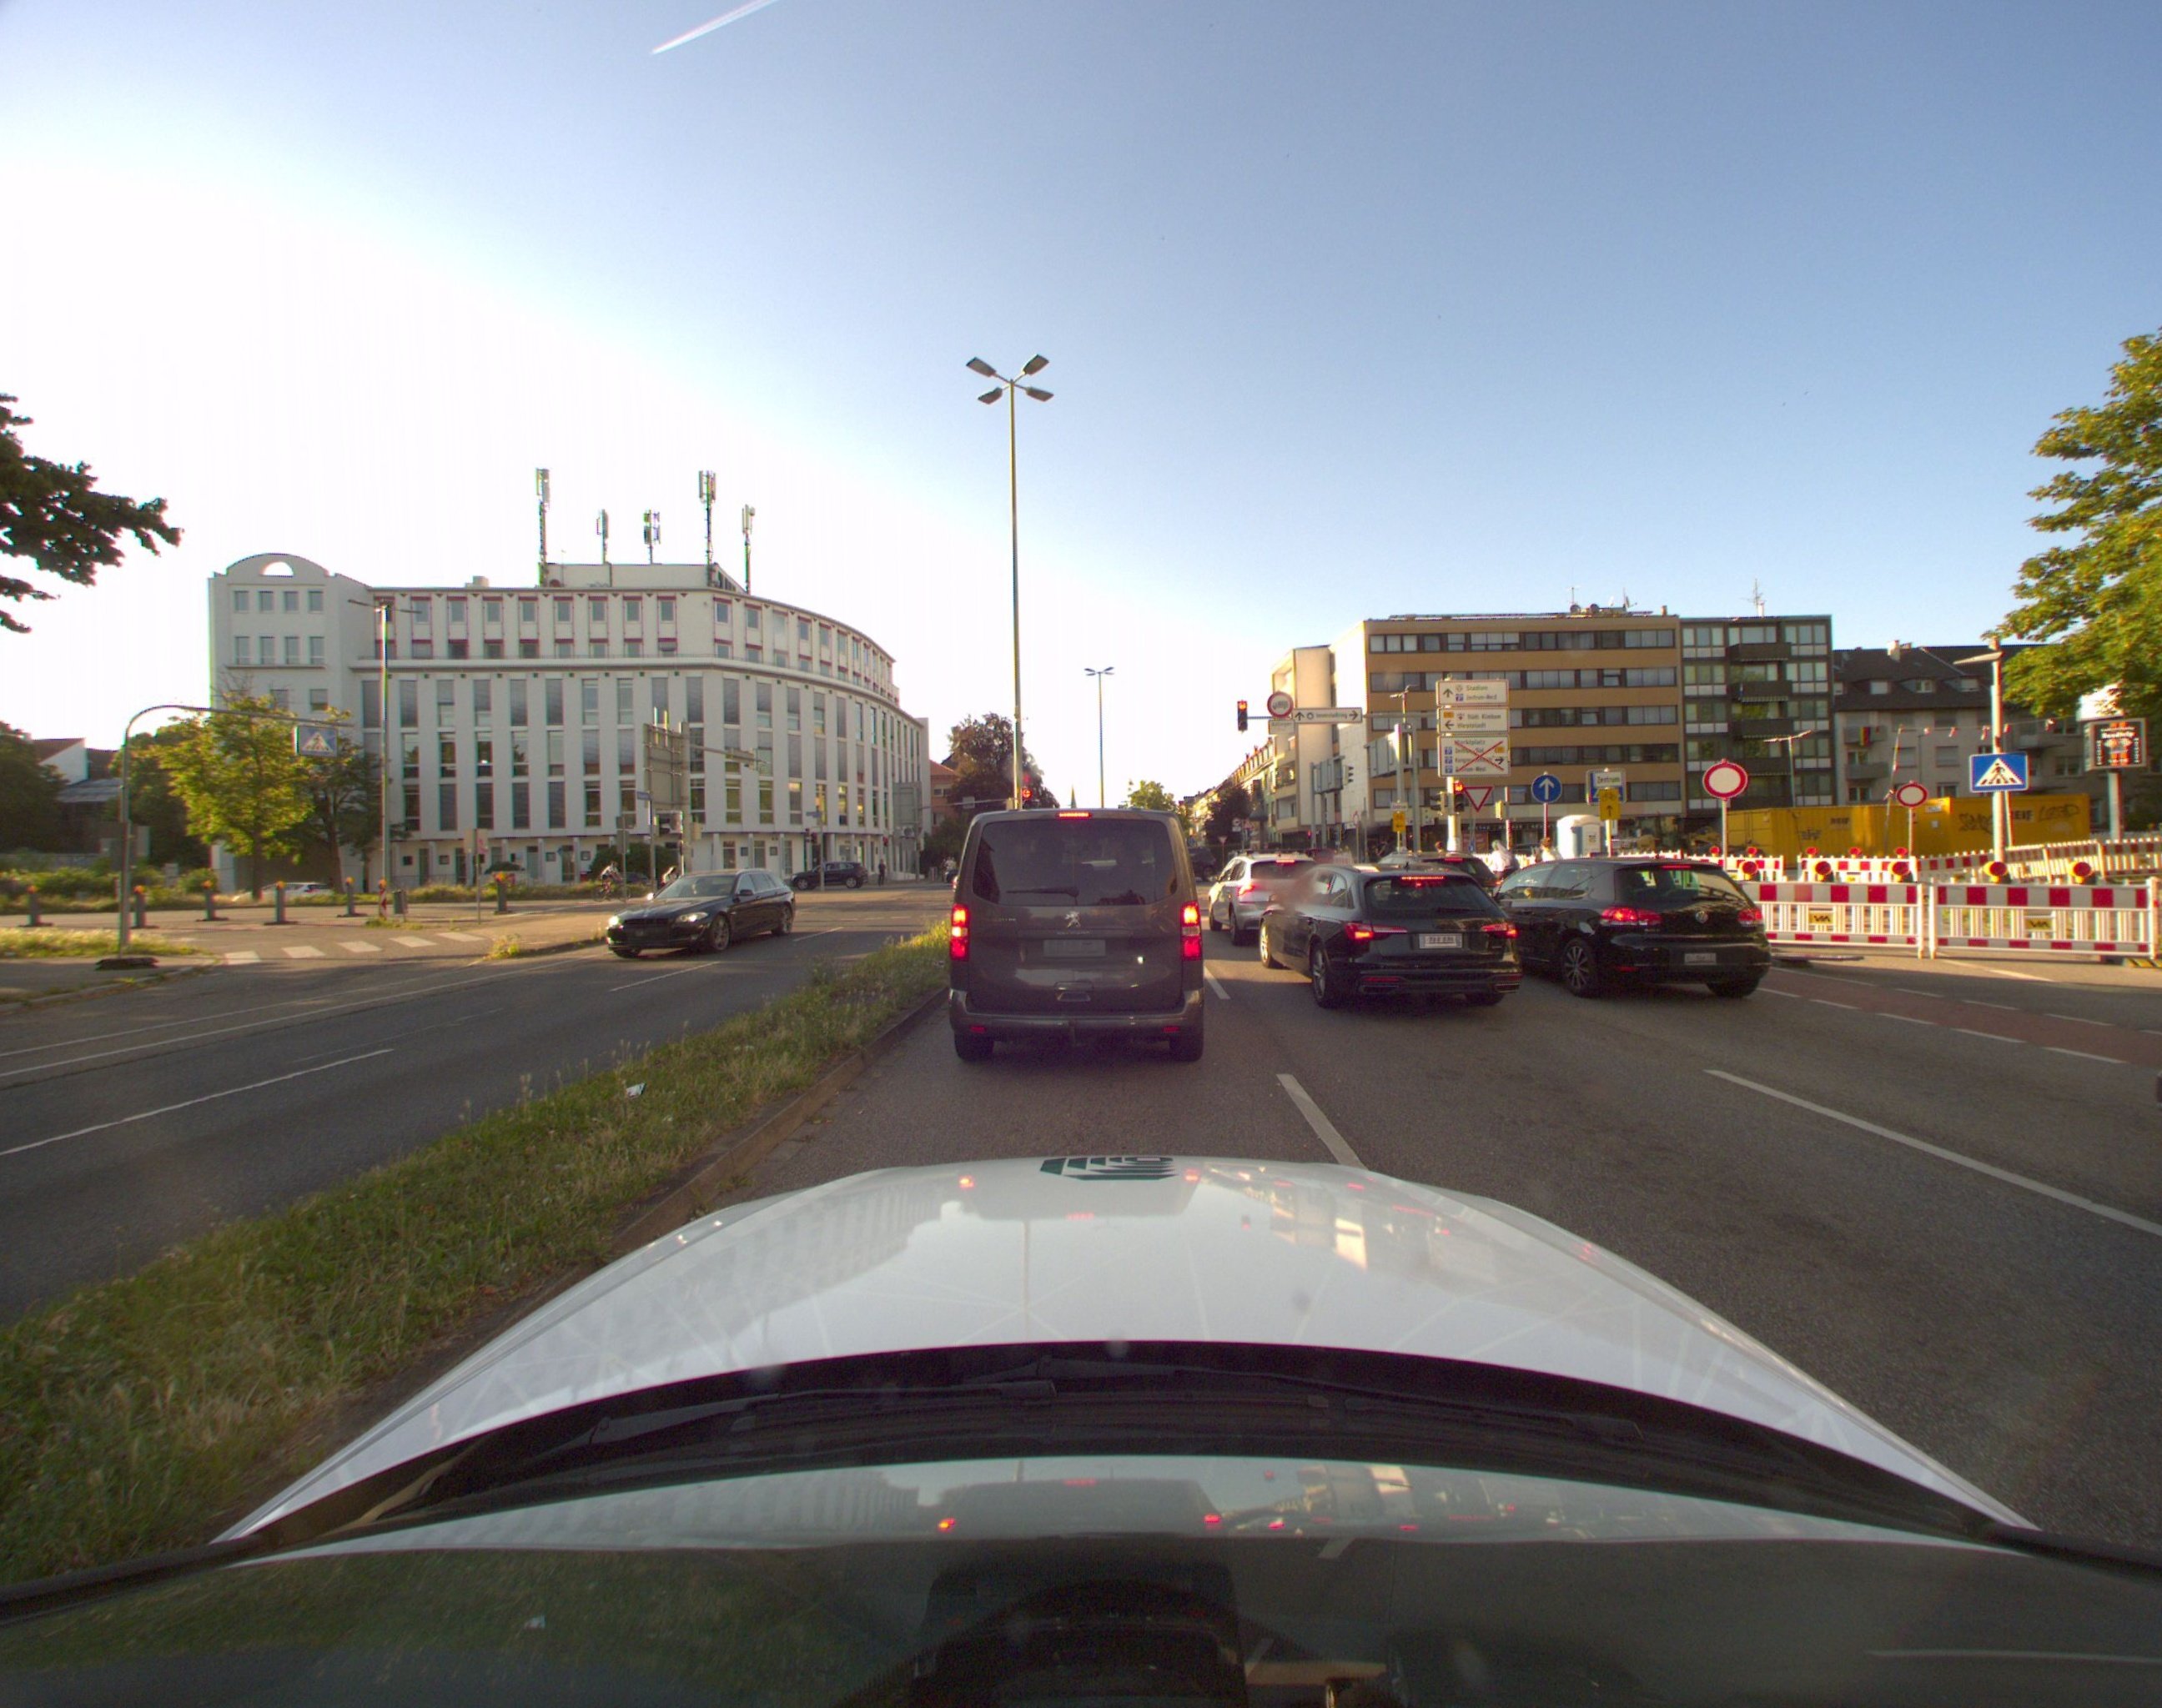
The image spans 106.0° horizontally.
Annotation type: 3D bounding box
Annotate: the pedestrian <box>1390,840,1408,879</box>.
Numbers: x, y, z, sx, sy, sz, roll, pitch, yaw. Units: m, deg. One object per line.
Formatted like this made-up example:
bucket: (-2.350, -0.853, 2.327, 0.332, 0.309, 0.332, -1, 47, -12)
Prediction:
pedestrian: (14.037, 0.230, 35.921, 0.599, 1.671, 0.455, -2, 0, 3)

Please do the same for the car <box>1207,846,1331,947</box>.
car: (3.296, 0.690, 14.918, 1.523, 1.613, 3.746, 0, 0, 2)

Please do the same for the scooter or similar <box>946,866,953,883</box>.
scooter or similar: (-9.465, 1.457, 58.668, 0.284, 1.189, 1.169, -2, 0, 2)

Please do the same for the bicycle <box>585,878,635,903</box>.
bicycle: (-20.579, 1.590, 35.594, 1.795, 1.042, 0.502, -2, 0, -5)

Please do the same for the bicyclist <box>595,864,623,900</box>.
bicyclist: (-20.630, 1.220, 35.598, 0.884, 1.496, 0.457, -2, 0, -5)

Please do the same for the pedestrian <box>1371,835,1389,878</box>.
pedestrian: (13.110, 0.107, 35.740, 0.567, 1.834, 0.488, -2, 0, 4)

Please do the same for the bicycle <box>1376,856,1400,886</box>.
bicycle: (12.499, 0.683, 33.142, 0.371, 1.161, 1.499, 0, 1, -2)

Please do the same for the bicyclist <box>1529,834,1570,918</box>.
bicyclist: (8.644, 0.398, 15.032, 0.439, 1.525, 0.482, -2, 0, 1)

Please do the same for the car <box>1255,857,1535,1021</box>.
car: (3.201, 0.757, 9.261, 1.675, 1.421, 4.215, 0, 0, 2)

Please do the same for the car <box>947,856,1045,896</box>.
car: (-3.285, 0.842, 32.174, 1.660, 1.418, 4.025, -2, 0, 32)

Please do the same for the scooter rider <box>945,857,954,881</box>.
scooter rider: (-9.467, 1.103, 58.684, 0.479, 1.697, 0.636, -2, 0, 1)

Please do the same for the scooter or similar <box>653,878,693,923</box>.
scooter or similar: (-11.503, 1.303, 22.972, 0.893, 1.234, 0.370, -2, 0, -10)

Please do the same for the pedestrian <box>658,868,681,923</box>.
pedestrian: (-11.597, 1.166, 22.971, 0.474, 1.505, 0.334, -2, 0, -10)

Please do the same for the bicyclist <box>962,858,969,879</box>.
bicyclist: (-8.907, 1.130, 62.771, 0.475, 1.555, 0.510, -2, 0, 1)

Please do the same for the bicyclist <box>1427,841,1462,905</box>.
bicyclist: (8.978, 0.457, 20.121, 0.511, 1.525, 0.725, -2, 0, 1)

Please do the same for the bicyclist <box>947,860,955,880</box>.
bicyclist: (-10.022, 1.196, 62.879, 0.461, 1.522, 0.469, -2, 0, 1)

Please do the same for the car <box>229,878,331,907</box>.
car: (-43.521, 2.081, 44.308, 3.775, 1.372, 1.648, -2, 0, -4)

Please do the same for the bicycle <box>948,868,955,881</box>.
bicycle: (-10.002, 1.608, 62.919, 0.289, 0.949, 1.073, -2, 0, 2)

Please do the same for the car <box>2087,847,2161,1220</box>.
car: (5.120, 0.686, 1.075, 1.809, 1.449, 4.665, -1, 0, -1)

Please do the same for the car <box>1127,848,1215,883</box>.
car: (4.291, 0.538, 38.691, 4.017, 1.516, 1.663, -2, 0, -35)

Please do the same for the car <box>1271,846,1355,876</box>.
car: (12.388, 0.365, 43.610, 3.990, 1.418, 1.675, -2, 0, -12)

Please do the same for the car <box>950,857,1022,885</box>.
car: (-5.188, 0.922, 44.791, 3.809, 1.354, 1.724, -2, 0, -5)

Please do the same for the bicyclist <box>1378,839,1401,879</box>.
bicyclist: (12.543, 0.202, 33.117, 0.616, 1.589, 0.814, 0, 0, -1)

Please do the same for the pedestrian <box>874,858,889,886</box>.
pedestrian: (-12.658, 1.153, 51.732, 0.631, 1.722, 0.663, -1, -1, -44)

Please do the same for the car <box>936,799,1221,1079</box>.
car: (0.053, 0.571, 7.713, 1.900, 1.863, 4.528, 0, 0, 2)

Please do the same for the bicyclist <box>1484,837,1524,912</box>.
bicyclist: (8.912, 0.423, 17.185, 0.439, 1.525, 0.725, -2, 0, 2)

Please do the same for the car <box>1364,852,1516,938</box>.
car: (6.610, 0.693, 15.352, 1.499, 1.449, 3.306, 0, 0, 2)

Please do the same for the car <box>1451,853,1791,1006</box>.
car: (5.997, 0.723, 9.637, 1.627, 1.449, 3.746, 0, 0, 2)

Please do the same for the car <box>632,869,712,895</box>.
car: (-23.125, 1.551, 46.192, 3.602, 1.296, 1.832, -2, 0, -7)

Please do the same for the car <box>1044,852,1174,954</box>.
car: (0.504, 0.770, 14.734, 1.986, 1.530, 4.002, -2, 0, 2)

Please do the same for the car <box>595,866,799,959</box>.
car: (-7.195, 1.019, 15.815, 1.690, 1.441, 4.246, -2, 0, 3)

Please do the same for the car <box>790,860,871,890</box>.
car: (-14.509, 1.211, 47.320, 4.109, 1.594, 1.793, -2, -1, -4)

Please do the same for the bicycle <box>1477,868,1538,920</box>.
bicycle: (8.913, 0.807, 17.100, 0.335, 1.008, 1.856, -2, 0, 2)
